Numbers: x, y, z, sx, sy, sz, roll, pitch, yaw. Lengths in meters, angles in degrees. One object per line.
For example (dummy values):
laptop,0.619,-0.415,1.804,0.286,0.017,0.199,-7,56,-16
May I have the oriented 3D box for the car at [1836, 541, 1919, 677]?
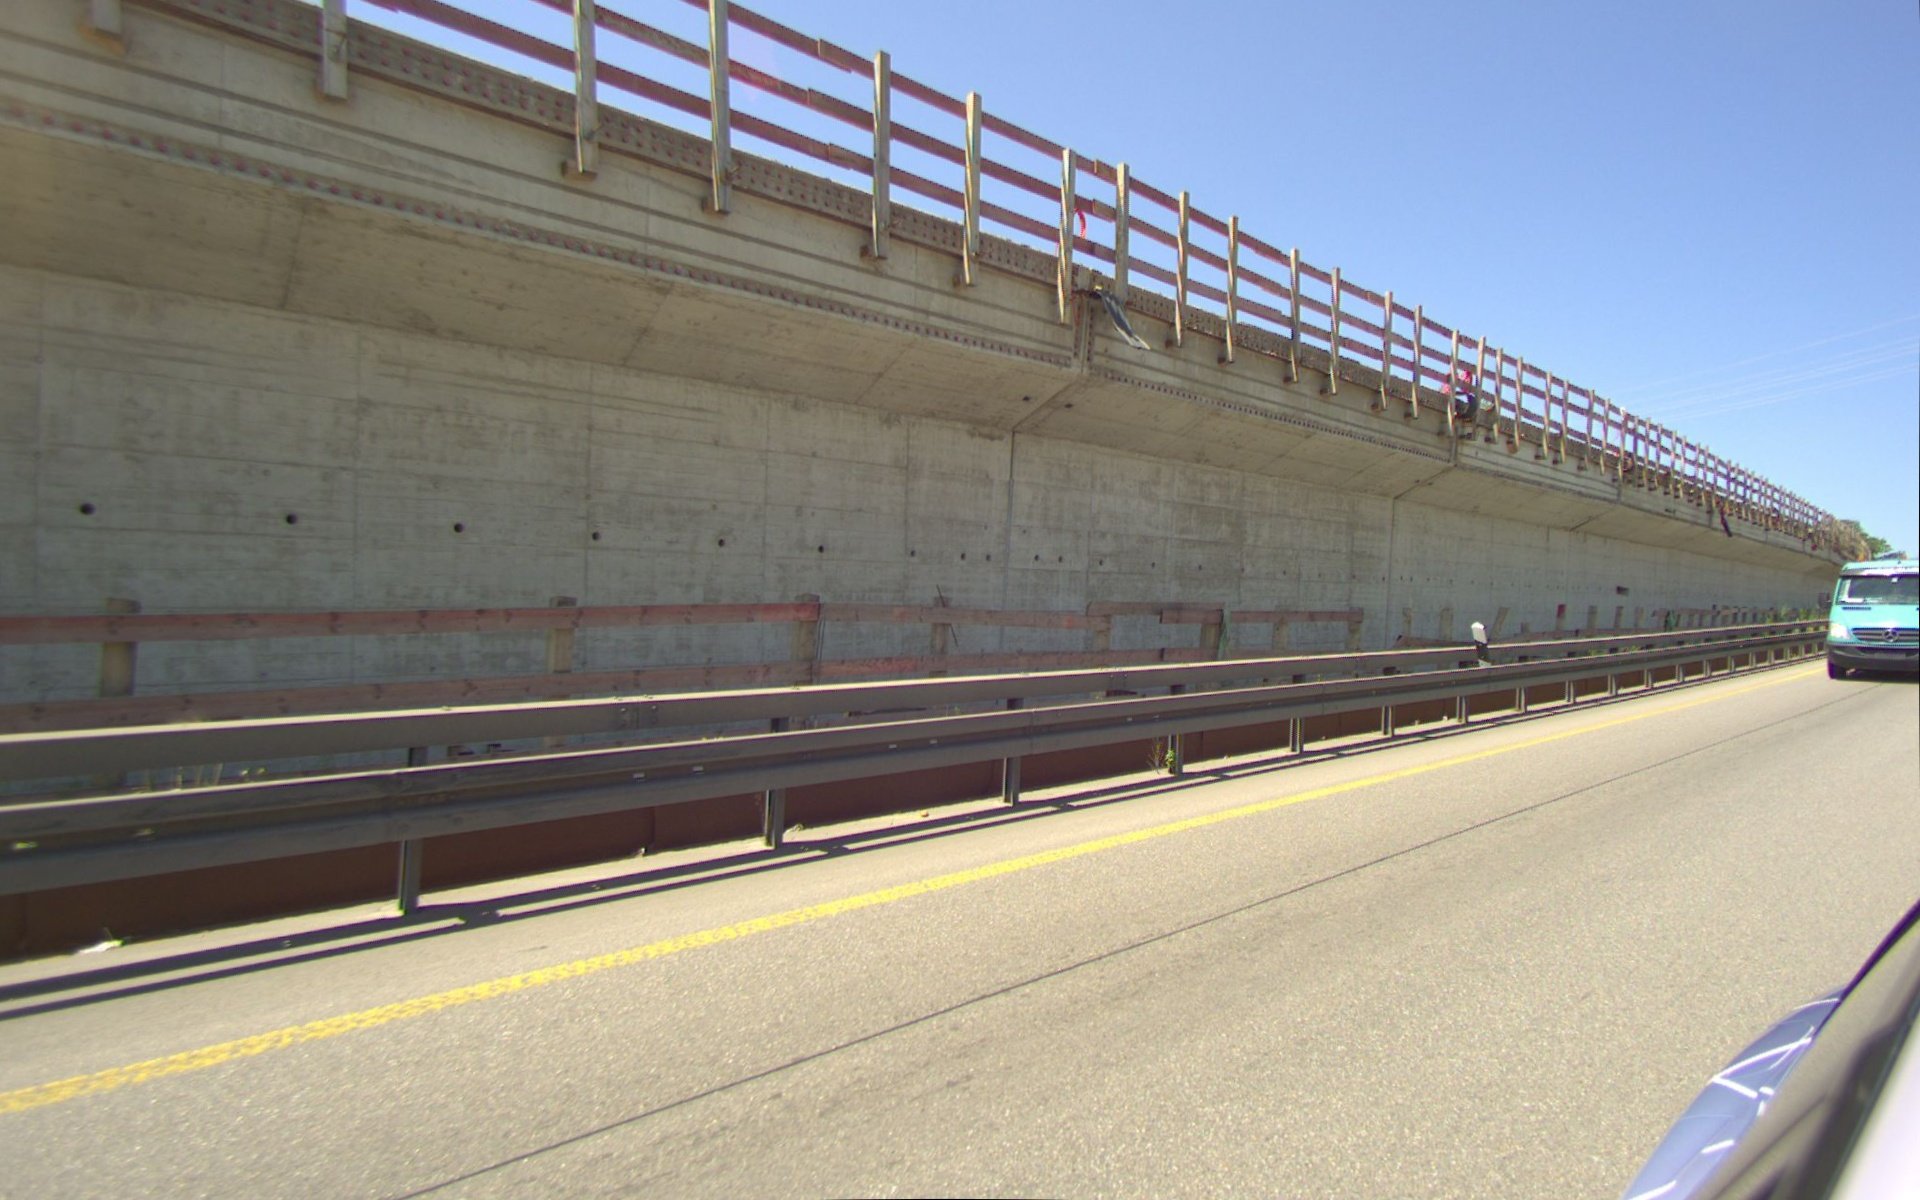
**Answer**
car,19.560,0.143,20.466,7.087,2.411,1.966,0,0,-42
